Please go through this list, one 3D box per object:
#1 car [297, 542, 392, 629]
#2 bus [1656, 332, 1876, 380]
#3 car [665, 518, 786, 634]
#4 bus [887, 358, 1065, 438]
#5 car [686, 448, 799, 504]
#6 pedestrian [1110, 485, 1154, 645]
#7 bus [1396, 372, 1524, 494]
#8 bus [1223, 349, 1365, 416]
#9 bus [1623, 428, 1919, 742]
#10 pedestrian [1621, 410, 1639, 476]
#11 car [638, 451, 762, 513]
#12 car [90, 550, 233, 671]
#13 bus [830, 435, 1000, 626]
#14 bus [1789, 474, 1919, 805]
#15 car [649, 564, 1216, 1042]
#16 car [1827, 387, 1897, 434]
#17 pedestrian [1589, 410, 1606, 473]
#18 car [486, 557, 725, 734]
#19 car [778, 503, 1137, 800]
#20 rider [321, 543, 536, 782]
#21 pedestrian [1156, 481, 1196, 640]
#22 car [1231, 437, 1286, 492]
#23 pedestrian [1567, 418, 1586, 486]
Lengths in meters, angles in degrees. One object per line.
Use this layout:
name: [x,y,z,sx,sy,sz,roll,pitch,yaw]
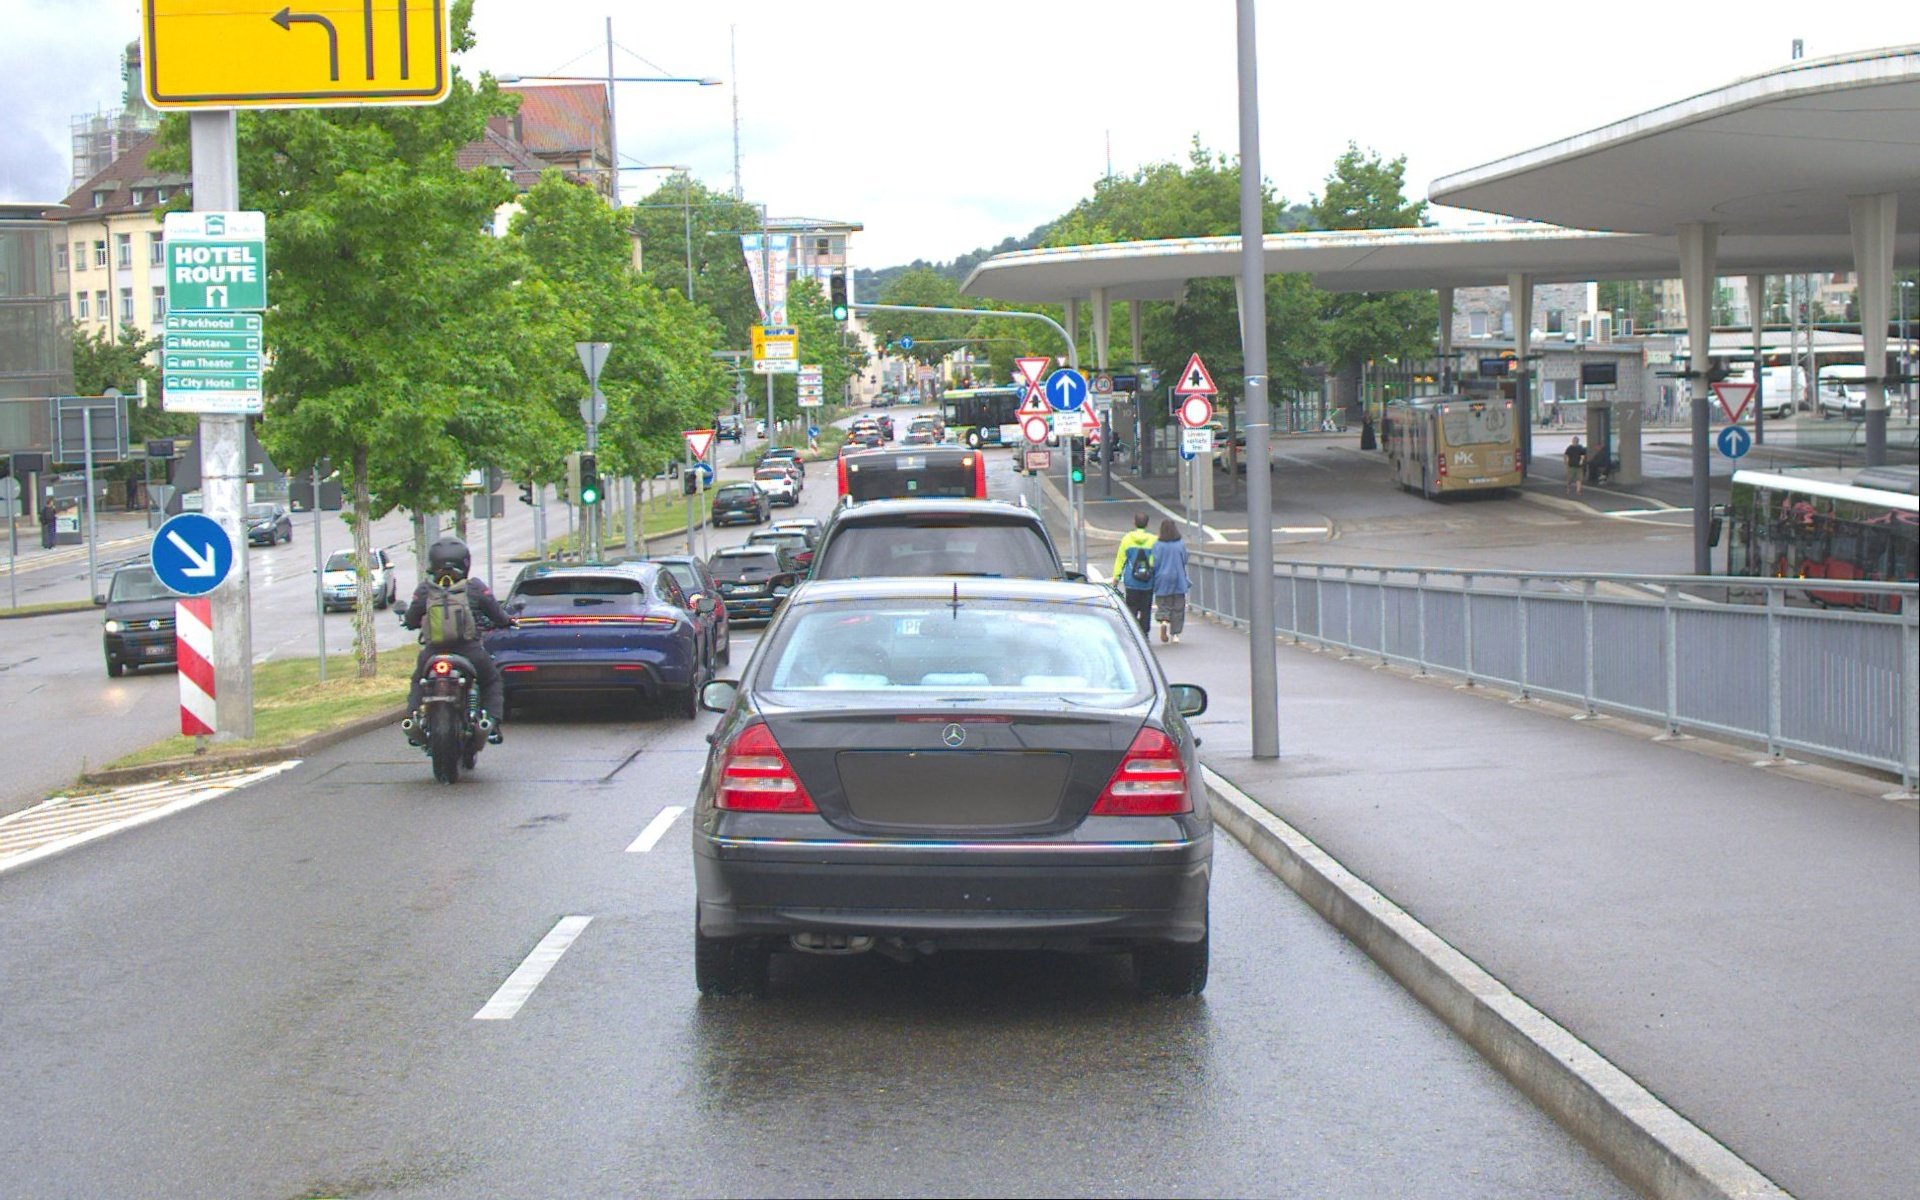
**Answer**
car: [-14.876,-0.349,83.244,1.993,2.007,4.203,-2,0,-7]
bus: [39.133,-11.851,167.072,10.167,2.006,2.170,-2,2,-3]
car: [-4.185,-0.459,61.910,1.993,1.999,4.001,0,2,-1]
bus: [0.766,-10.769,182.572,3.257,3.993,10.890,-6,6,-38]
car: [-8.196,-4.684,129.817,3.987,2.006,2.000,-2,2,4]
pedestrian: [2.183,-0.440,43.726,0.489,2.007,0.469,-2,-1,2]
bus: [15.782,-5.210,109.218,3.179,3.588,10.509,-1,2,4]
bus: [18.233,-11.859,187.948,7.197,3.384,3.083,-2,3,-4]
bus: [10.478,-0.345,42.684,2.645,3.225,7.074,-2,5,-4]
pedestrian: [20.658,-4.835,106.020,0.424,2.007,0.483,-2,-1,2]
car: [-9.015,-4.103,119.381,3.987,2.006,2.000,-2,2,4]
car: [-14.096,0.164,60.912,1.993,2.007,4.203,-2,0,-7]
bus: [-0.829,-1.277,62.395,2.827,3.178,10.310,0,1,-1]
bus: [11.000,0.396,35.590,2.645,3.225,7.073,-2,4,-4]
car: [-0.015,0.590,12.215,1.706,1.415,3.725,0,1,2]
car: [40.559,-8.523,154.691,1.993,2.006,4.001,-2,3,-1]
pedestrian: [20.291,-5.043,109.472,0.424,2.006,0.483,-2,2,2]
car: [-3.119,0.360,30.951,1.760,1.431,4.000,0,2,0]
car: [0.083,0.237,21.575,1.827,1.681,3.999,0,2,6]
rider: [-3.465,0.373,22.626,0.881,1.467,2.196,1,1,5]
pedestrian: [2.748,-0.495,43.760,0.424,2.007,0.483,-2,-1,2]
car: [11.371,-5.153,130.997,1.994,2.006,4.000,-2,2,5]
pedestrian: [18.297,-4.393,102.031,0.424,2.006,0.483,-2,2,2]
